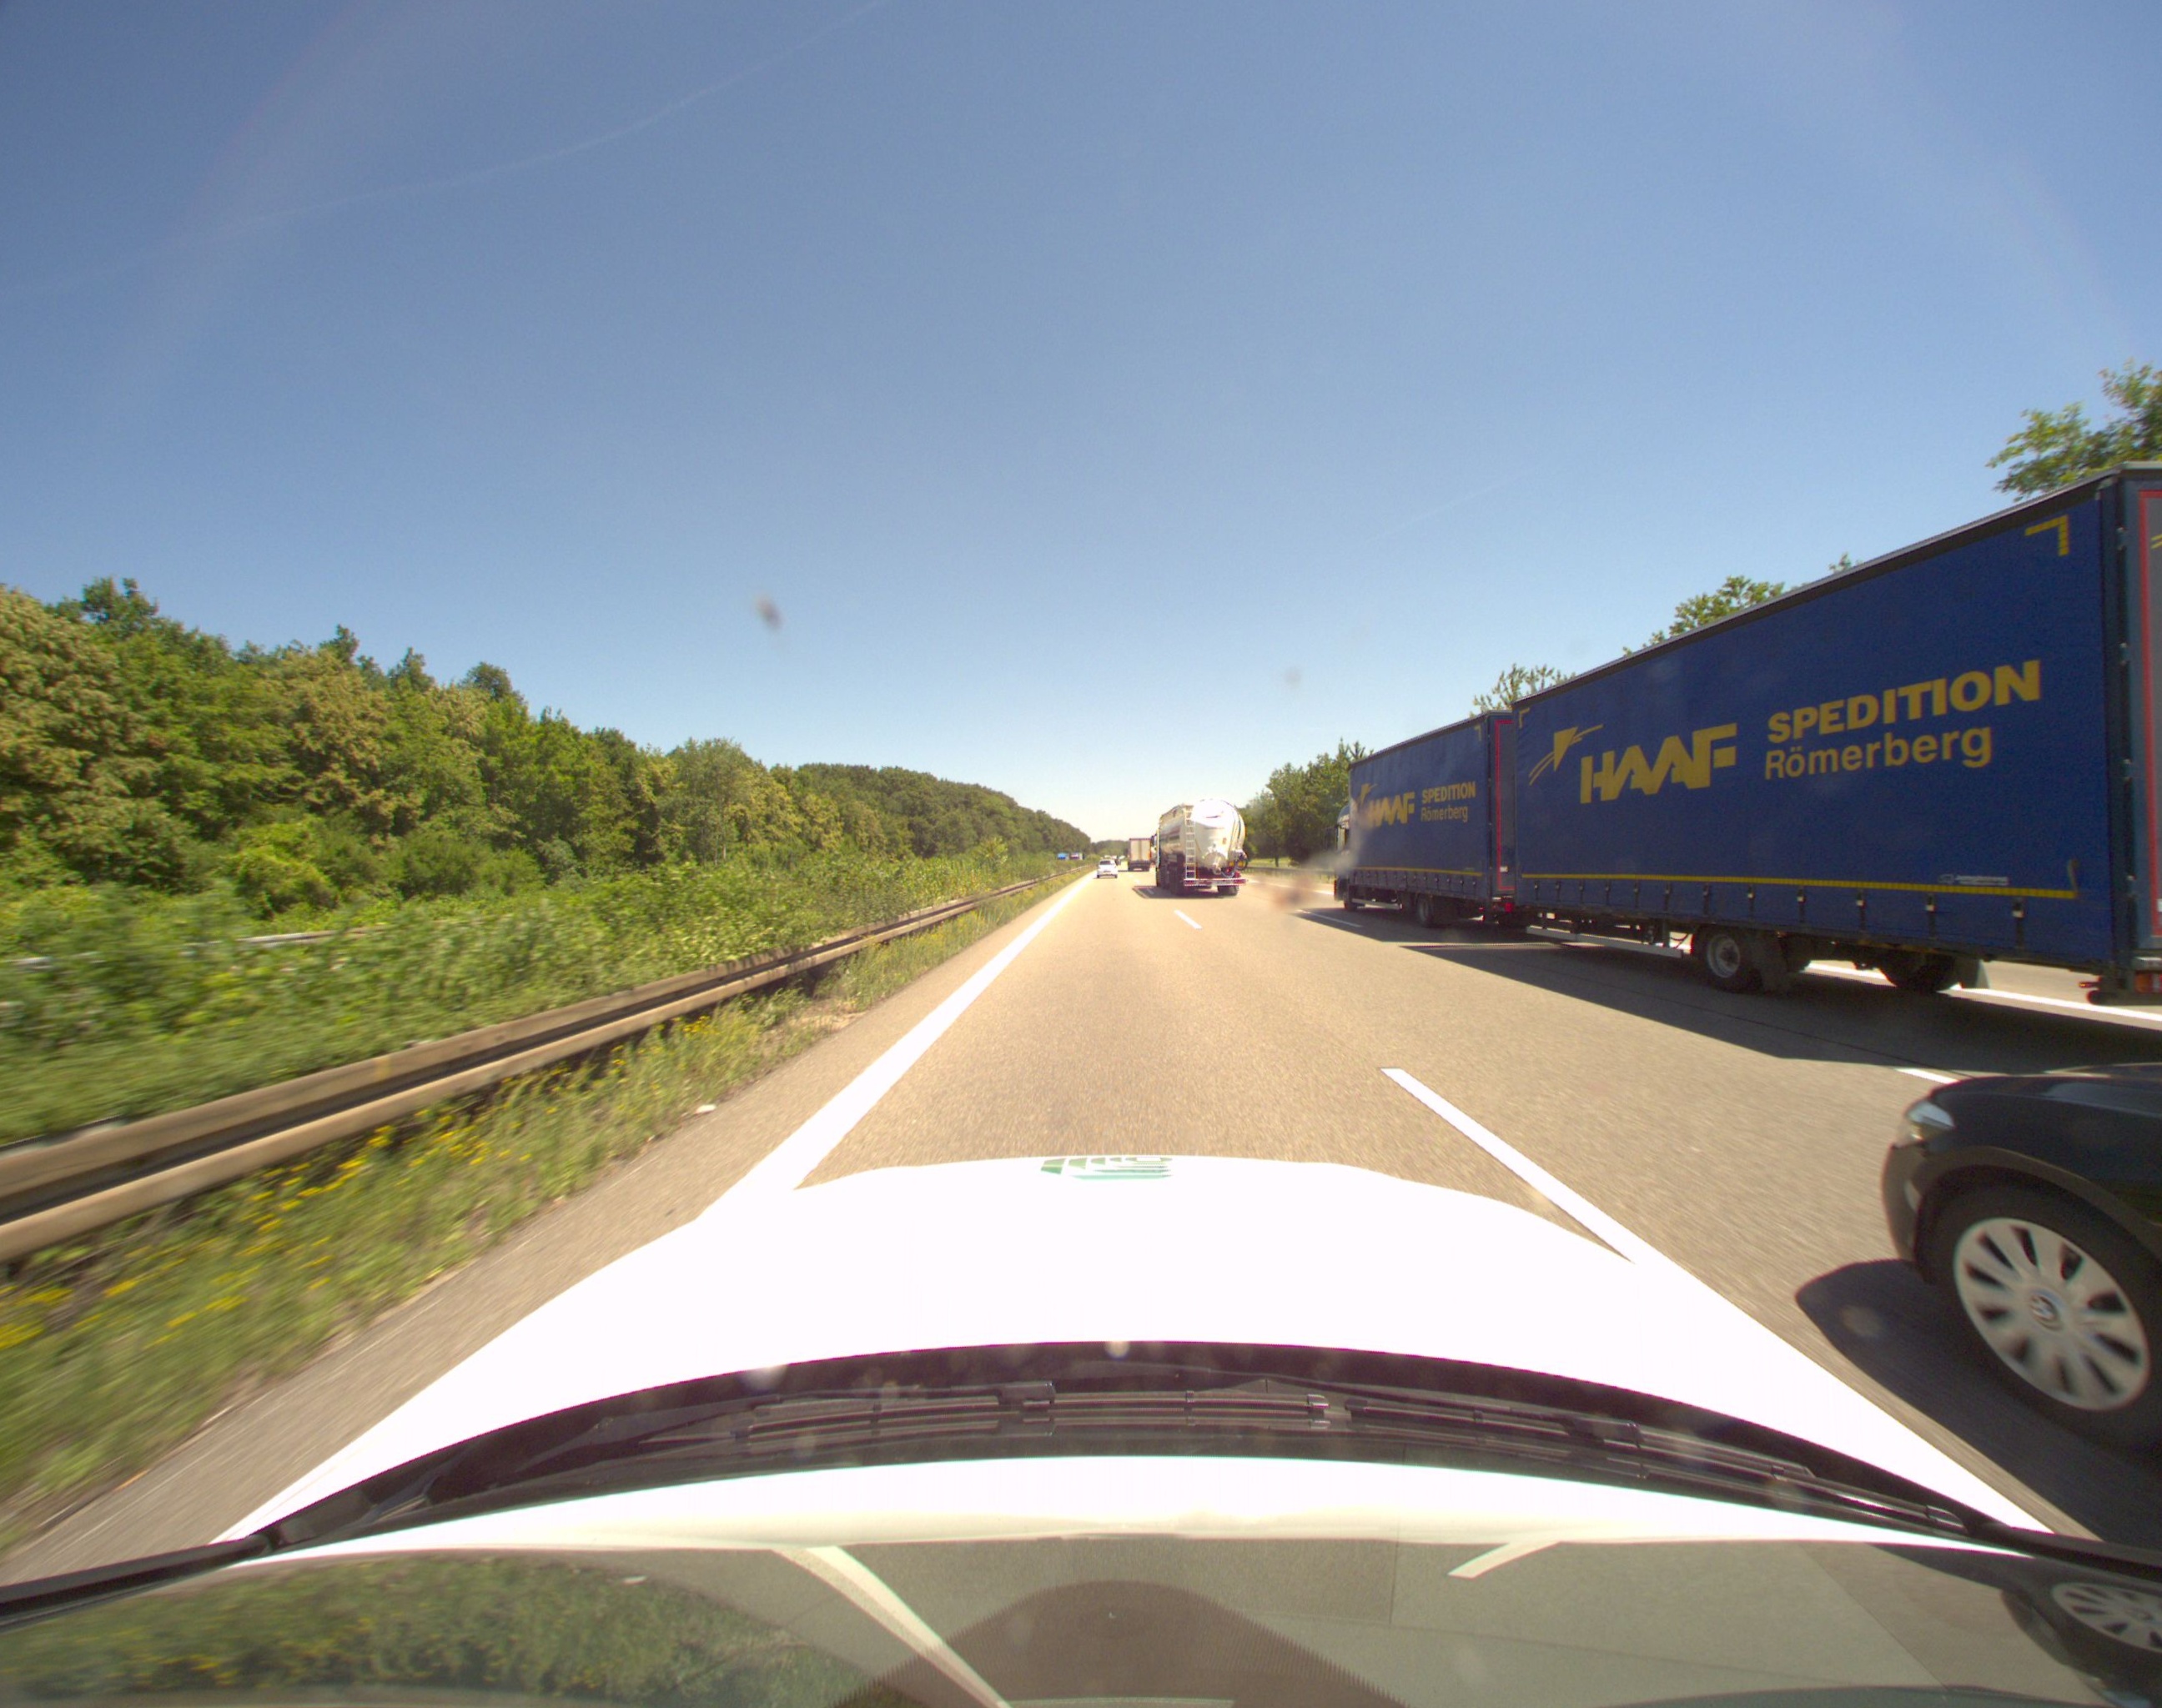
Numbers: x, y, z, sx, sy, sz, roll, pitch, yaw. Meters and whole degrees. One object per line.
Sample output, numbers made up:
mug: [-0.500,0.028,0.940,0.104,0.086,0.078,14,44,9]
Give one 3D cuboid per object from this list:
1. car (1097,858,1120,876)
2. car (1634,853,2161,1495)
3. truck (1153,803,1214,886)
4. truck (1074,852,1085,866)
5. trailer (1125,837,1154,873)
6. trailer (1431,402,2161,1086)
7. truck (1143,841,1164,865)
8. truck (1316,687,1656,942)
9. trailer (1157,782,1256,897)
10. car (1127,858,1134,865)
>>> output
car: [2.213,1.053,66.929,1.805,1.405,3.318,-2,0,1]
car: [3.334,0.719,1.376,1.829,1.417,4.499,-2,0,2]
truck: [5.510,-0.458,44.540,2.780,4.204,5.002,-2,-1,2]
truck: [-0.324,1.486,240.523,2.858,4.009,5.004,-2,-1,3]
trailer: [7.479,0.126,102.394,3.208,4.143,12.368,-2,0,5]
trailer: [8.072,-0.693,10.389,2.780,4.204,10.811,-2,0,2]
truck: [13.521,-0.108,152.511,3.211,4.345,10.811,-2,0,2]
truck: [8.332,-0.635,19.047,2.780,4.204,10.811,-2,0,2]
trailer: [5.253,-0.491,36.496,2.780,4.204,12.357,-2,0,2]
car: [12.458,1.803,205.728,1.661,1.765,4.003,-2,0,3]
